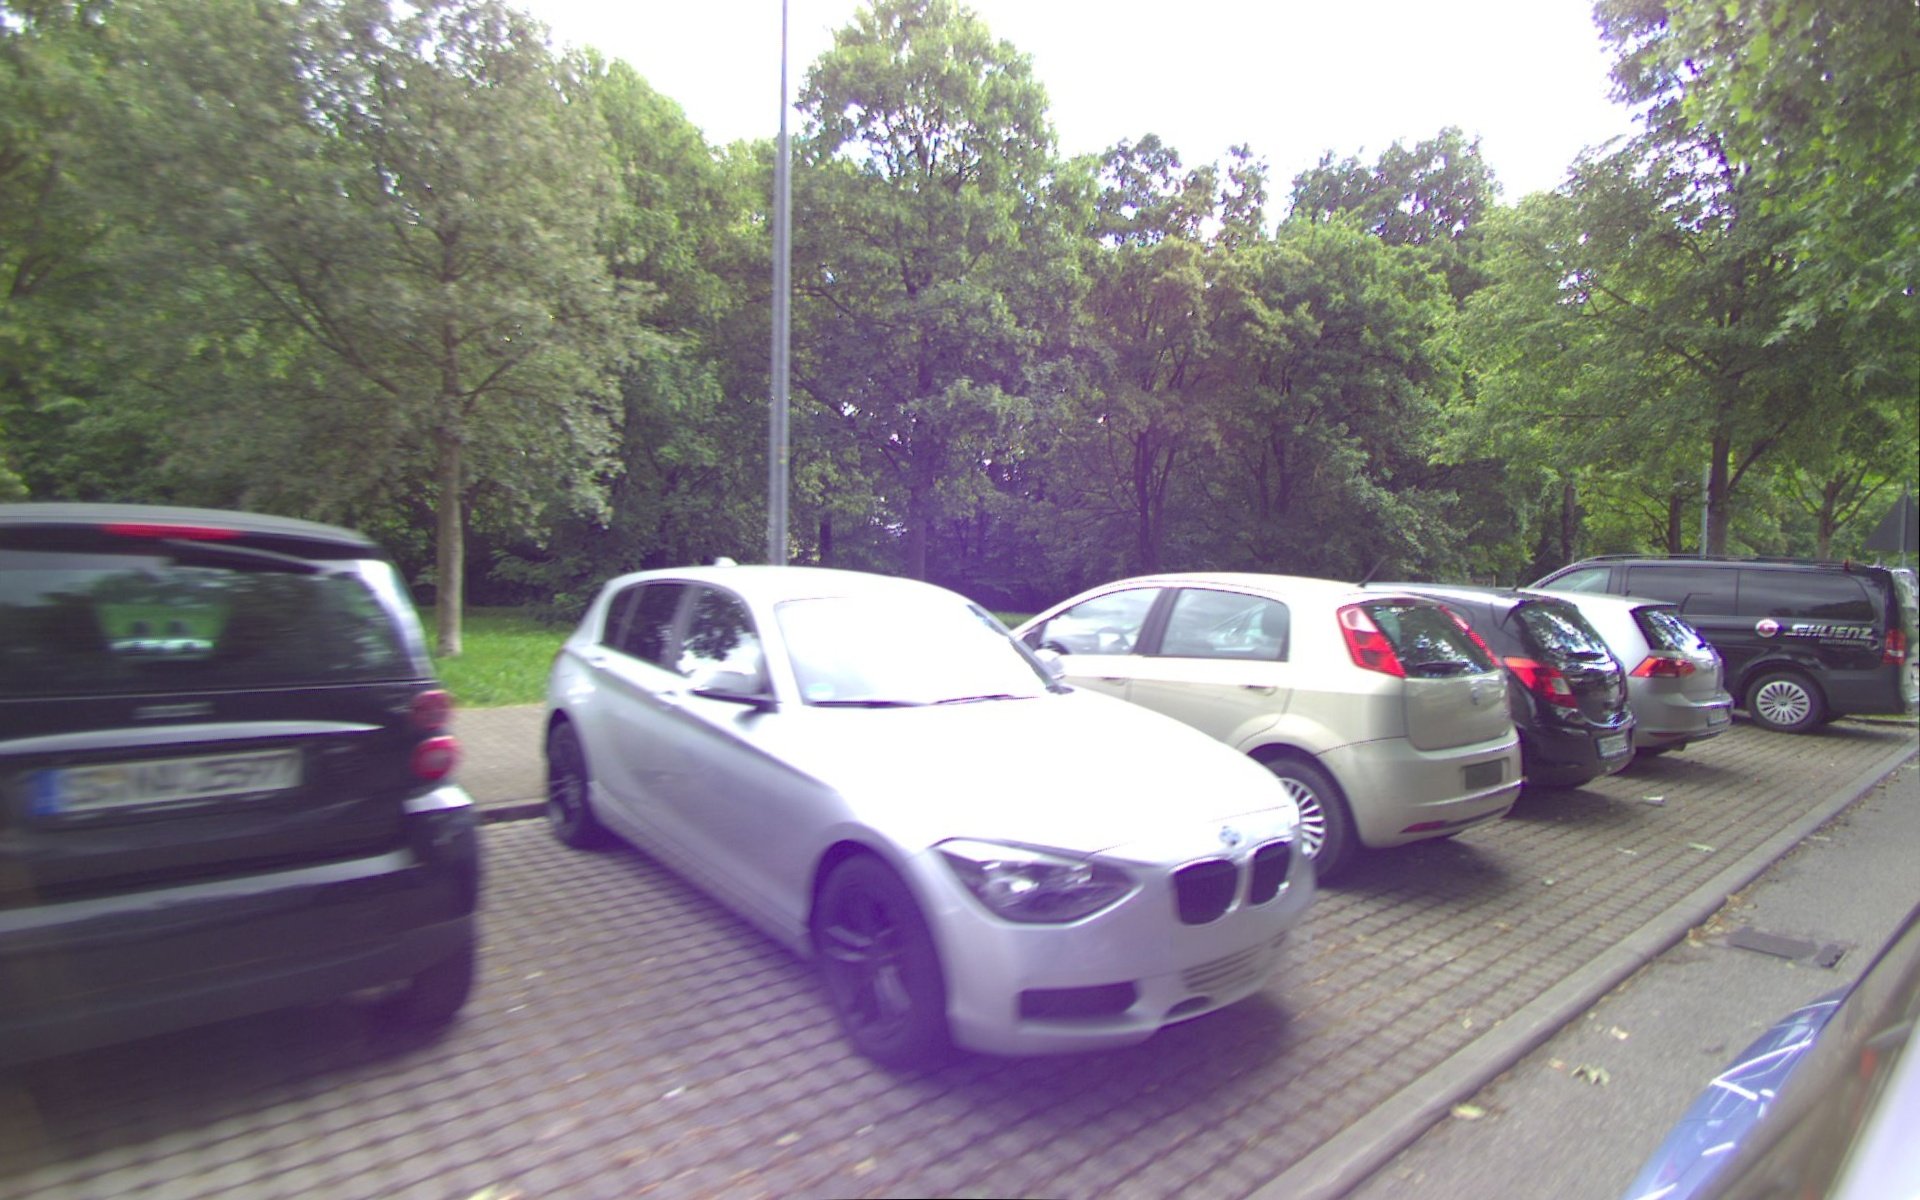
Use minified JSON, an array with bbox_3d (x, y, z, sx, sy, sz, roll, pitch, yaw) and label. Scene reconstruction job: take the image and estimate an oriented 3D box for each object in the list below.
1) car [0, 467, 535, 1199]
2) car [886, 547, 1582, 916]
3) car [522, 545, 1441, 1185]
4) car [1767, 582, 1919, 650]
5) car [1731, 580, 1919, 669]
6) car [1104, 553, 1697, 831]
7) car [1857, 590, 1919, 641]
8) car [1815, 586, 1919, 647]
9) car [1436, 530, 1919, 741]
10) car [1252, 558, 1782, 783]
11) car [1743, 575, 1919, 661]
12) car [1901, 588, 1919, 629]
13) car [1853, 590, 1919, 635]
[{"bbox_3d":[-3.127,0.400,3.764,1.787,1.577,3.841,0,3,-40],"label":"car"},{"bbox_3d":[1.412,0.484,6.492,1.778,1.546,3.997,0,3,-39],"label":"car"},{"bbox_3d":[-0.327,0.528,4.494,1.901,1.447,3.996,-1,3,-40],"label":"car"},{"bbox_3d":[24.120,0.433,26.218,1.946,1.536,4.650,1,2,-38],"label":"car"},{"bbox_3d":[18.464,0.475,21.133,1.764,1.594,3.387,1,2,-40],"label":"car"},{"bbox_3d":[3.222,0.482,8.117,1.731,1.529,3.974,1,3,-38],"label":"car"},{"bbox_3d":[30.254,0.543,30.859,1.818,1.474,4.083,0,3,-39],"label":"car"},{"bbox_3d":[26.369,0.482,27.878,1.820,1.536,4.077,0,3,-44],"label":"car"},{"bbox_3d":[8.962,0.236,12.632,2.126,2.038,4.969,1,3,-39],"label":"car"},{"bbox_3d":[5.012,0.463,9.588,1.761,1.529,3.972,1,3,-39],"label":"car"},{"bbox_3d":[20.444,0.398,22.516,2.045,1.696,4.425,1,2,-40],"label":"car"},{"bbox_3d":[38.310,0.427,38.174,1.846,1.534,3.852,0,3,-37],"label":"car"},{"bbox_3d":[33.810,0.498,34.745,1.814,1.472,4.496,0,3,-40],"label":"car"}]
